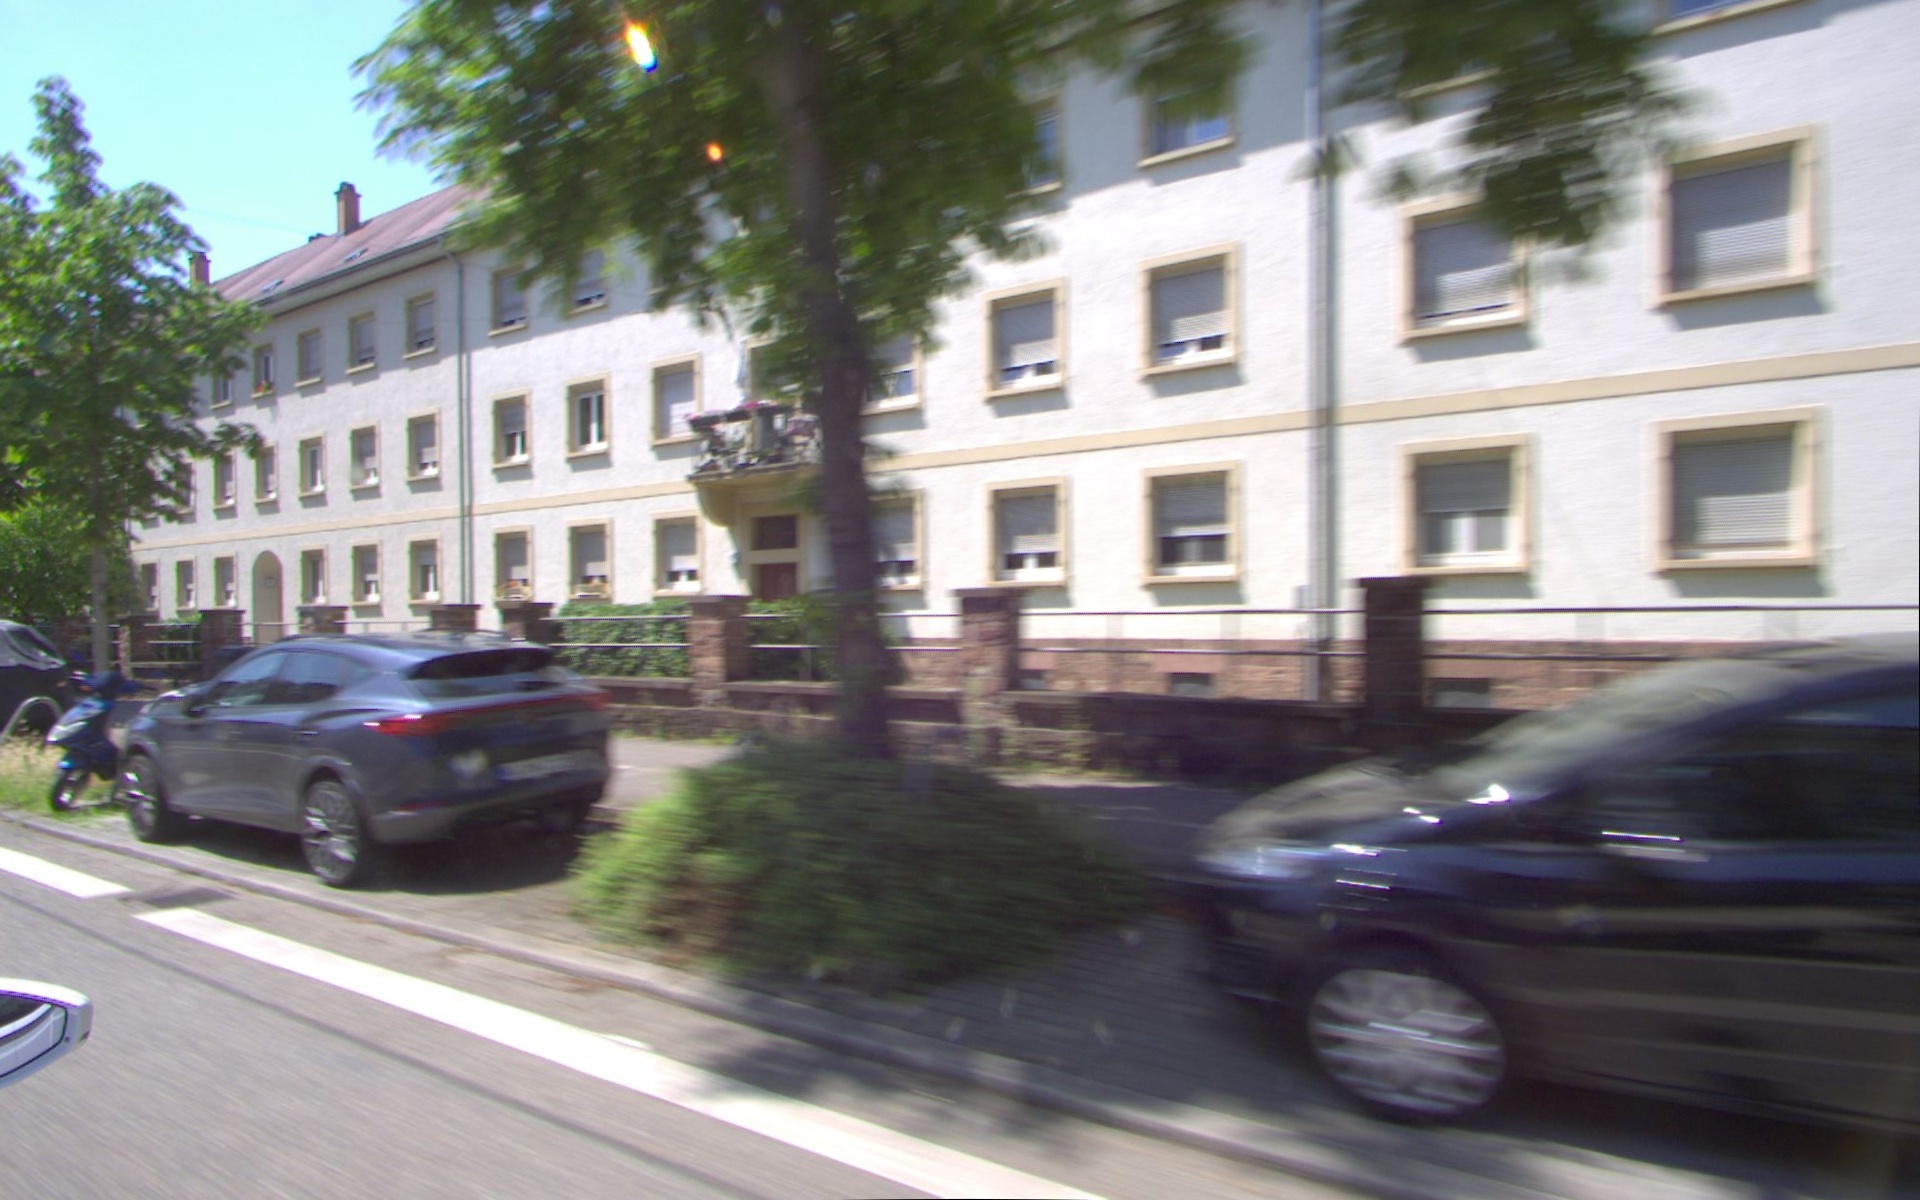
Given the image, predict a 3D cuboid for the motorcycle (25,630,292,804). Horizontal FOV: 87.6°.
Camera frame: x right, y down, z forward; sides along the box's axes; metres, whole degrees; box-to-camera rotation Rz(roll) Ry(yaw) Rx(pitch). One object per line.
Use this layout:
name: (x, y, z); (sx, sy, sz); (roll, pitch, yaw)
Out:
motorcycle: (-7.590, 1.036, 9.605); (0.660, 1.452, 1.914); (0, 0, 22)

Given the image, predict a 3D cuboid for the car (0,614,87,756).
car: (-13.477, 1.030, 13.133); (4.813, 1.673, 1.942); (0, 0, 35)

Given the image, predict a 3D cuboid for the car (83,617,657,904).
car: (-4.474, 0.926, 7.430); (4.386, 1.572, 1.730); (0, 0, 30)

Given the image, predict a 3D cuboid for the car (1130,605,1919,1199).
car: (2.699, 0.791, 3.200); (3.939, 1.535, 1.655); (-1, 0, 29)
